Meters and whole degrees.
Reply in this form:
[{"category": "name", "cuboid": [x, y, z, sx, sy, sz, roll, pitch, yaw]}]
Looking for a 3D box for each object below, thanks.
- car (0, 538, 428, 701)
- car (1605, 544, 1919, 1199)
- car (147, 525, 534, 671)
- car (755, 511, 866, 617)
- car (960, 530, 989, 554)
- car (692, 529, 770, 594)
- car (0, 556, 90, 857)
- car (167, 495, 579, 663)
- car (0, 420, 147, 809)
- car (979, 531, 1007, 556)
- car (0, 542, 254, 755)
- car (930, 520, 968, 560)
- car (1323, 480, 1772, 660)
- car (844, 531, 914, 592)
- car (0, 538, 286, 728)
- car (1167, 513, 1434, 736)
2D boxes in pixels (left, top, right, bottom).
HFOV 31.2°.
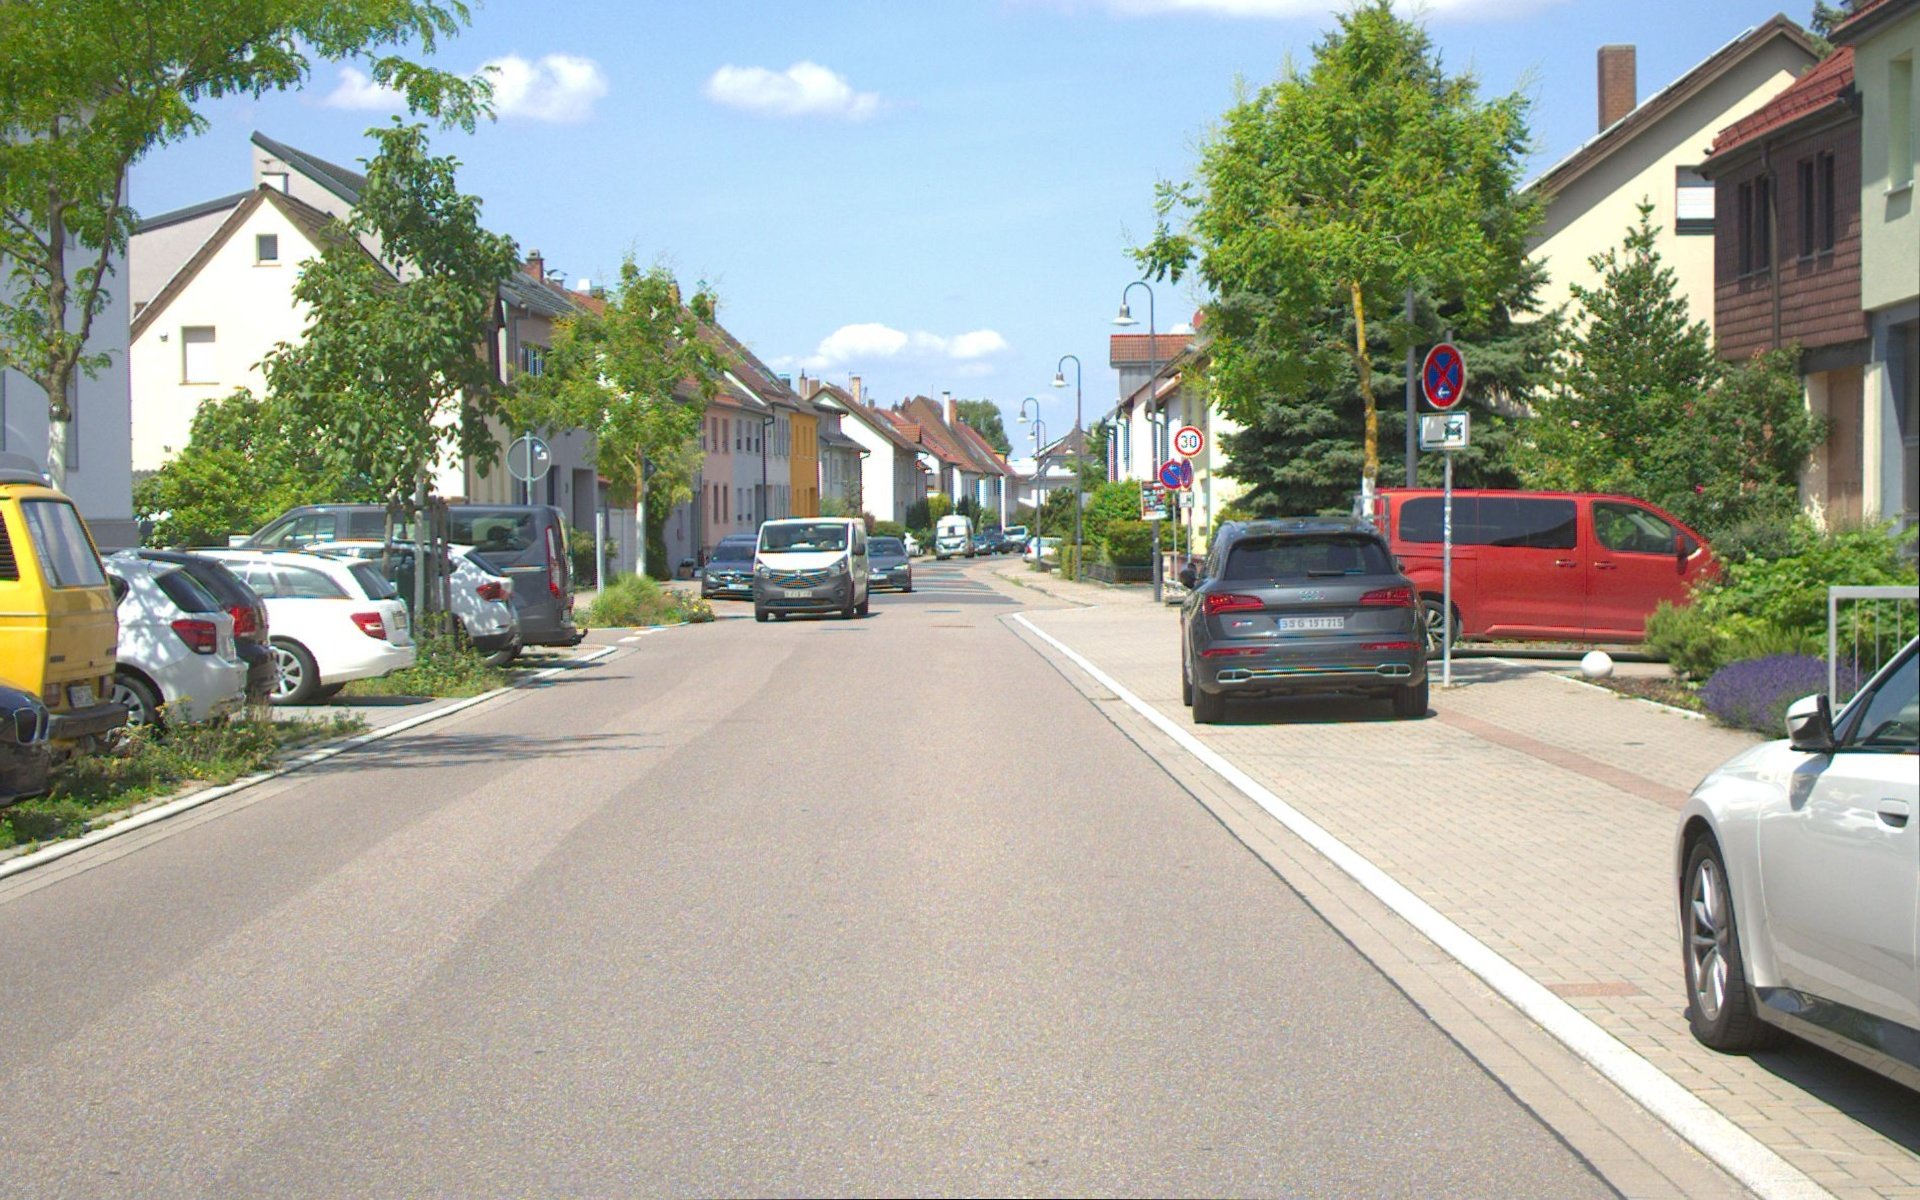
[{"category": "car", "cuboid": [-7.356, 0.169, 32.650, 4.295, 1.463, 1.774, 1, 0, 2]}, {"category": "car", "cuboid": [3.026, 0.593, 8.533, 1.832, 1.460, 4.520, 0, 1, -2]}, {"category": "car", "cuboid": [-7.064, -0.026, 39.528, 4.182, 1.563, 1.774, 1, 0, -4]}, {"category": "car", "cuboid": [-2.827, -0.679, 66.021, 2.022, 1.943, 4.899, -1, 0, -1]}, {"category": "car", "cuboid": [0.972, -3.826, 228.132, 1.692, 1.498, 3.771, 1, 0, 3]}, {"category": "car", "cuboid": [-5.791, -0.997, 87.172, 1.816, 1.428, 4.140, 3, 2, -3]}, {"category": "car", "cuboid": [-6.677, 0.486, 17.574, 4.010, 1.454, 1.755, 1, 1, 0]}, {"category": "car", "cuboid": [-7.141, -0.261, 42.160, 4.700, 1.916, 1.938, 1, 0, 0]}, {"category": "car", "cuboid": [-7.260, 0.036, 20.170, 4.508, 2.170, 1.925, 1, 1, 0]}, {"category": "car", "cuboid": [2.249, -3.858, 235.602, 1.692, 1.654, 3.771, 1, 0, 3]}, {"category": "car", "cuboid": [-7.197, 0.315, 24.660, 4.071, 1.463, 1.754, 1, 1, -8]}, {"category": "car", "cuboid": [-0.648, -3.572, 206.071, 2.045, 2.304, 3.771, 1, 0, 3]}, {"category": "car", "cuboid": [6.509, -0.331, 38.465, 4.618, 1.887, 2.021, 1, 0, -1]}, {"category": "car", "cuboid": [-2.125, -1.025, 90.156, 1.762, 1.517, 4.049, -2, 1, -1]}, {"category": "car", "cuboid": [-7.406, 0.245, 27.491, 3.878, 1.463, 1.659, 1, 0, -8]}, {"category": "car", "cuboid": [2.763, 0.134, 28.750, 1.864, 1.630, 4.446, -2, 2, 2]}]
